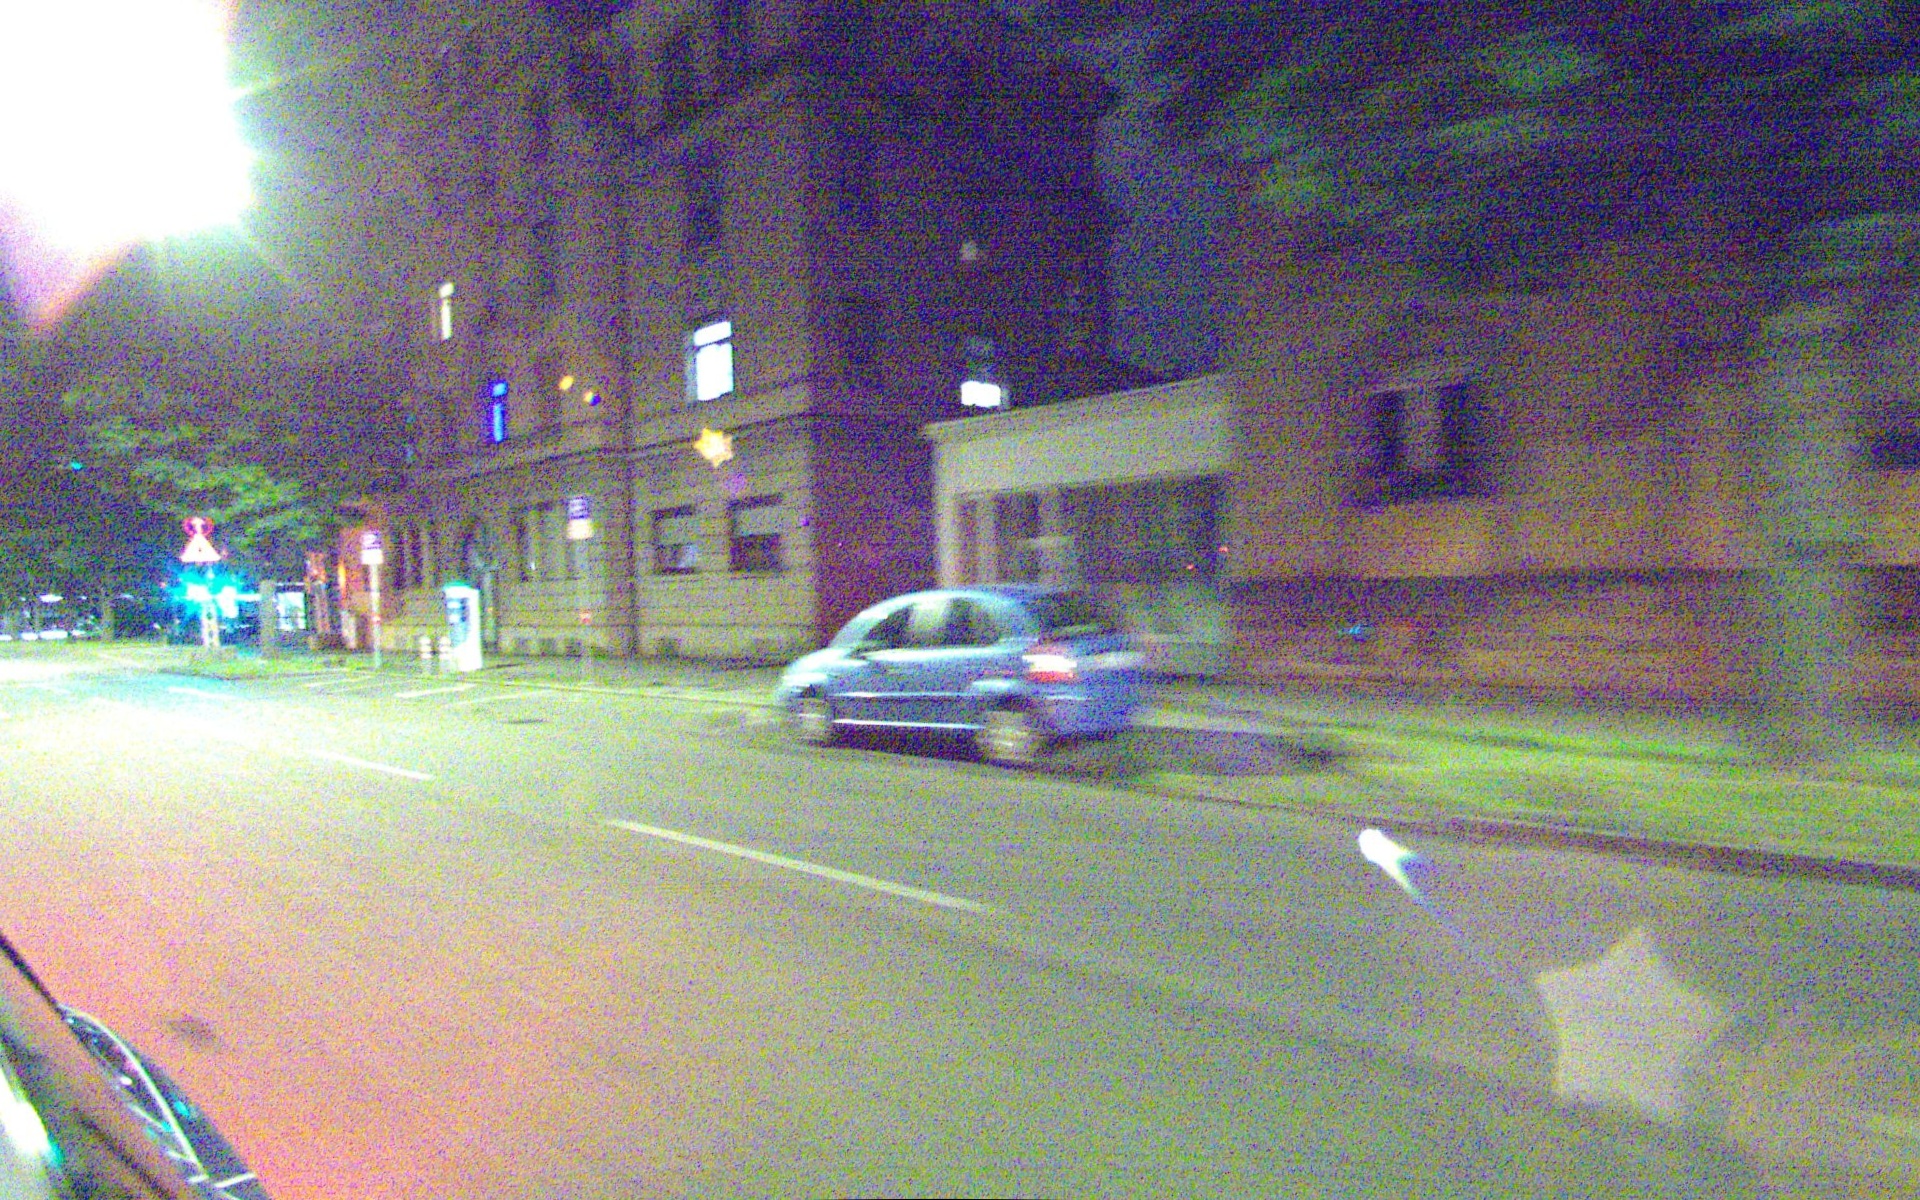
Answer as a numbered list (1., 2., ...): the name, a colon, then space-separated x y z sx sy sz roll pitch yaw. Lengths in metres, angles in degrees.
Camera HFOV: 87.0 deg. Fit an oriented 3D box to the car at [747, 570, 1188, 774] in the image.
1. car: -0.069 0.567 9.574 3.987 1.505 1.696 -2 1 41
